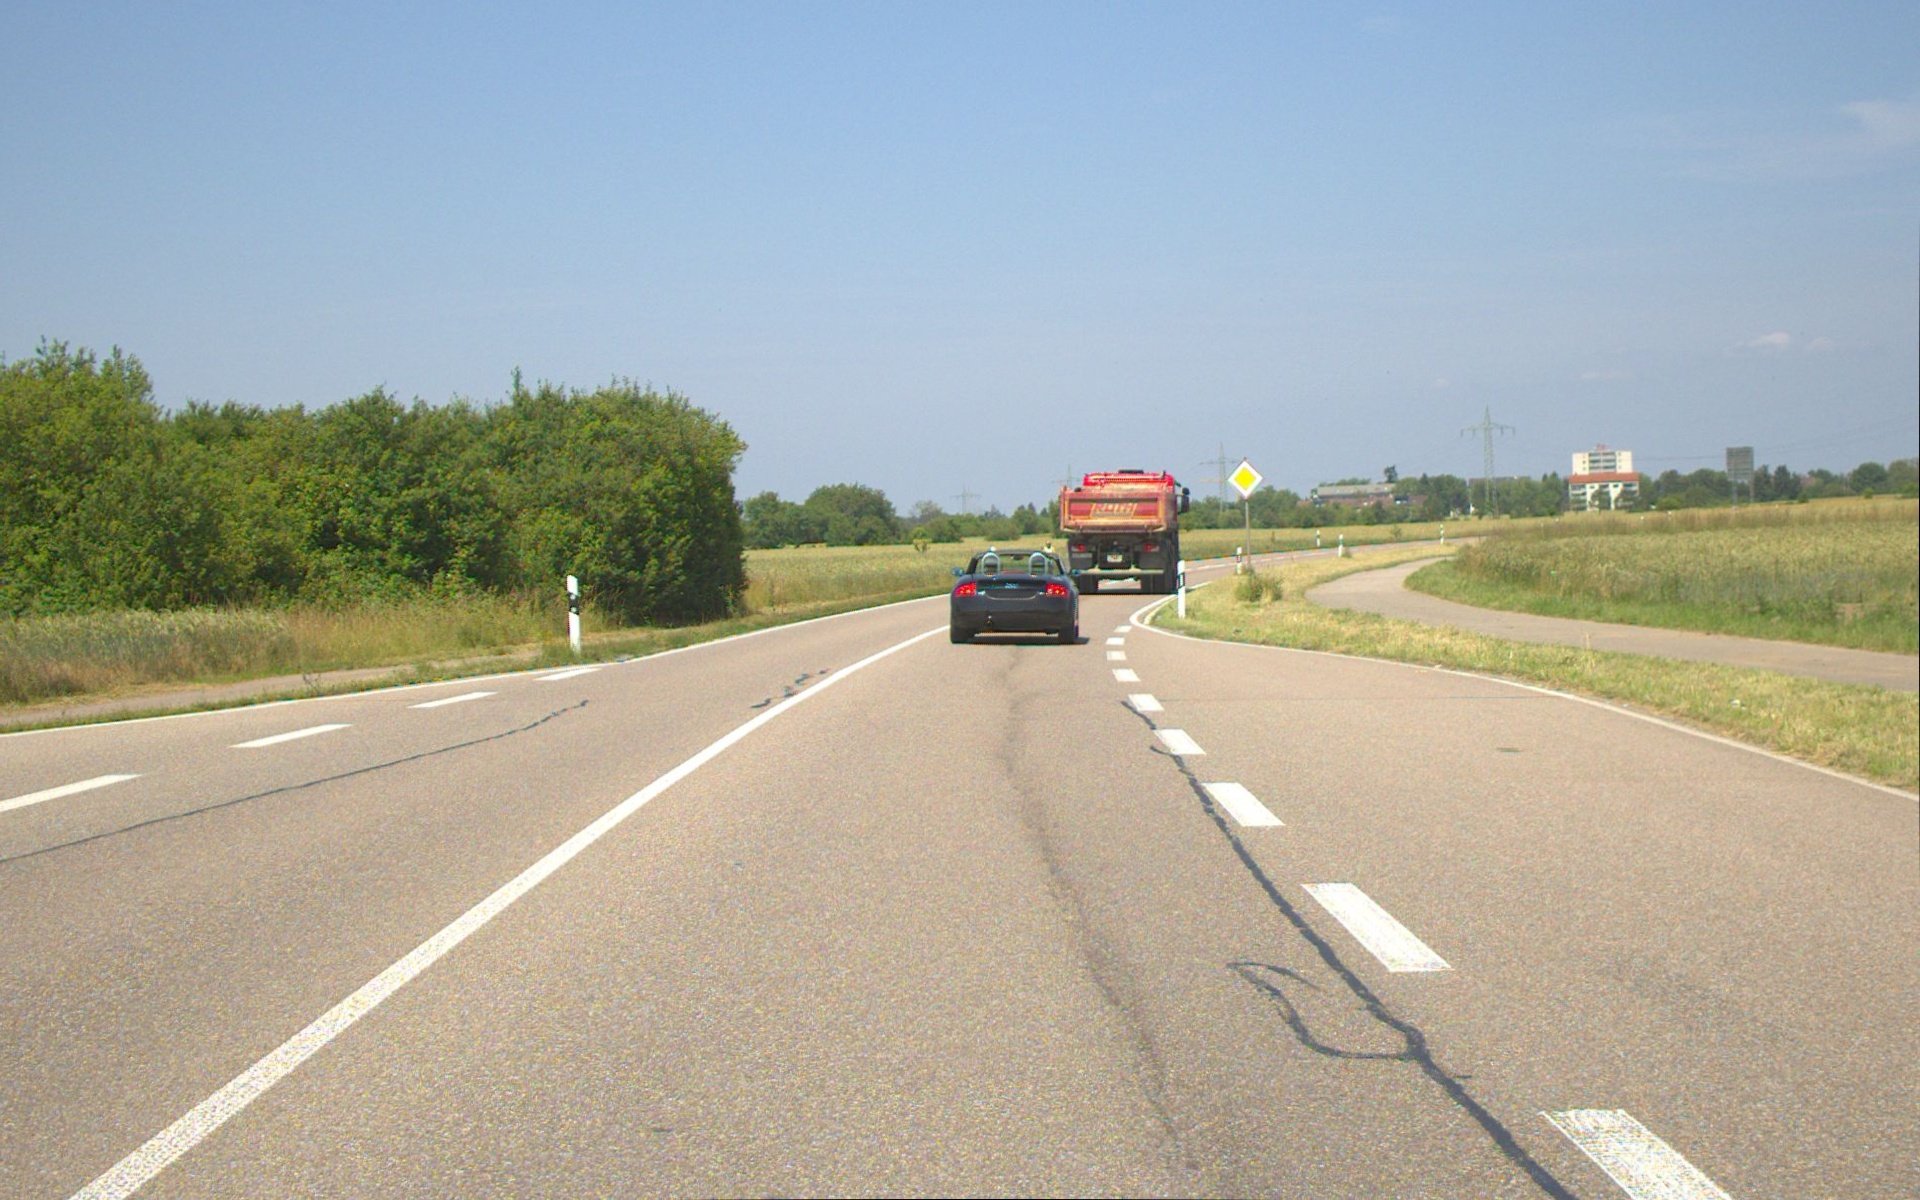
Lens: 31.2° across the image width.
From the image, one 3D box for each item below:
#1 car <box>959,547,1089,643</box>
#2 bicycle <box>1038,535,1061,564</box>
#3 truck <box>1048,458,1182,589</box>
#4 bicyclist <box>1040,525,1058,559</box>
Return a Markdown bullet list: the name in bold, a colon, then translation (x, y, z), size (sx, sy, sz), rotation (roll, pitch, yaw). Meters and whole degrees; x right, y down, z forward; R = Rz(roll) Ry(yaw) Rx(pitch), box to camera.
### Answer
- **car**: translation (0.945, -0.095, 48.753), size (1.744, 1.275, 4.000), rotation (-1, 1, 2)
- **bicycle**: translation (3.842, -2.185, 147.771), size (0.694, 1.172, 1.963), rotation (-2, 2, 9)
- **truck**: translation (3.931, -1.873, 85.711), size (2.938, 3.078, 7.195), rotation (-1, 1, 5)
- **bicyclist**: translation (3.831, -2.498, 147.767), size (0.664, 1.433, 0.822), rotation (-1, 1, 9)
